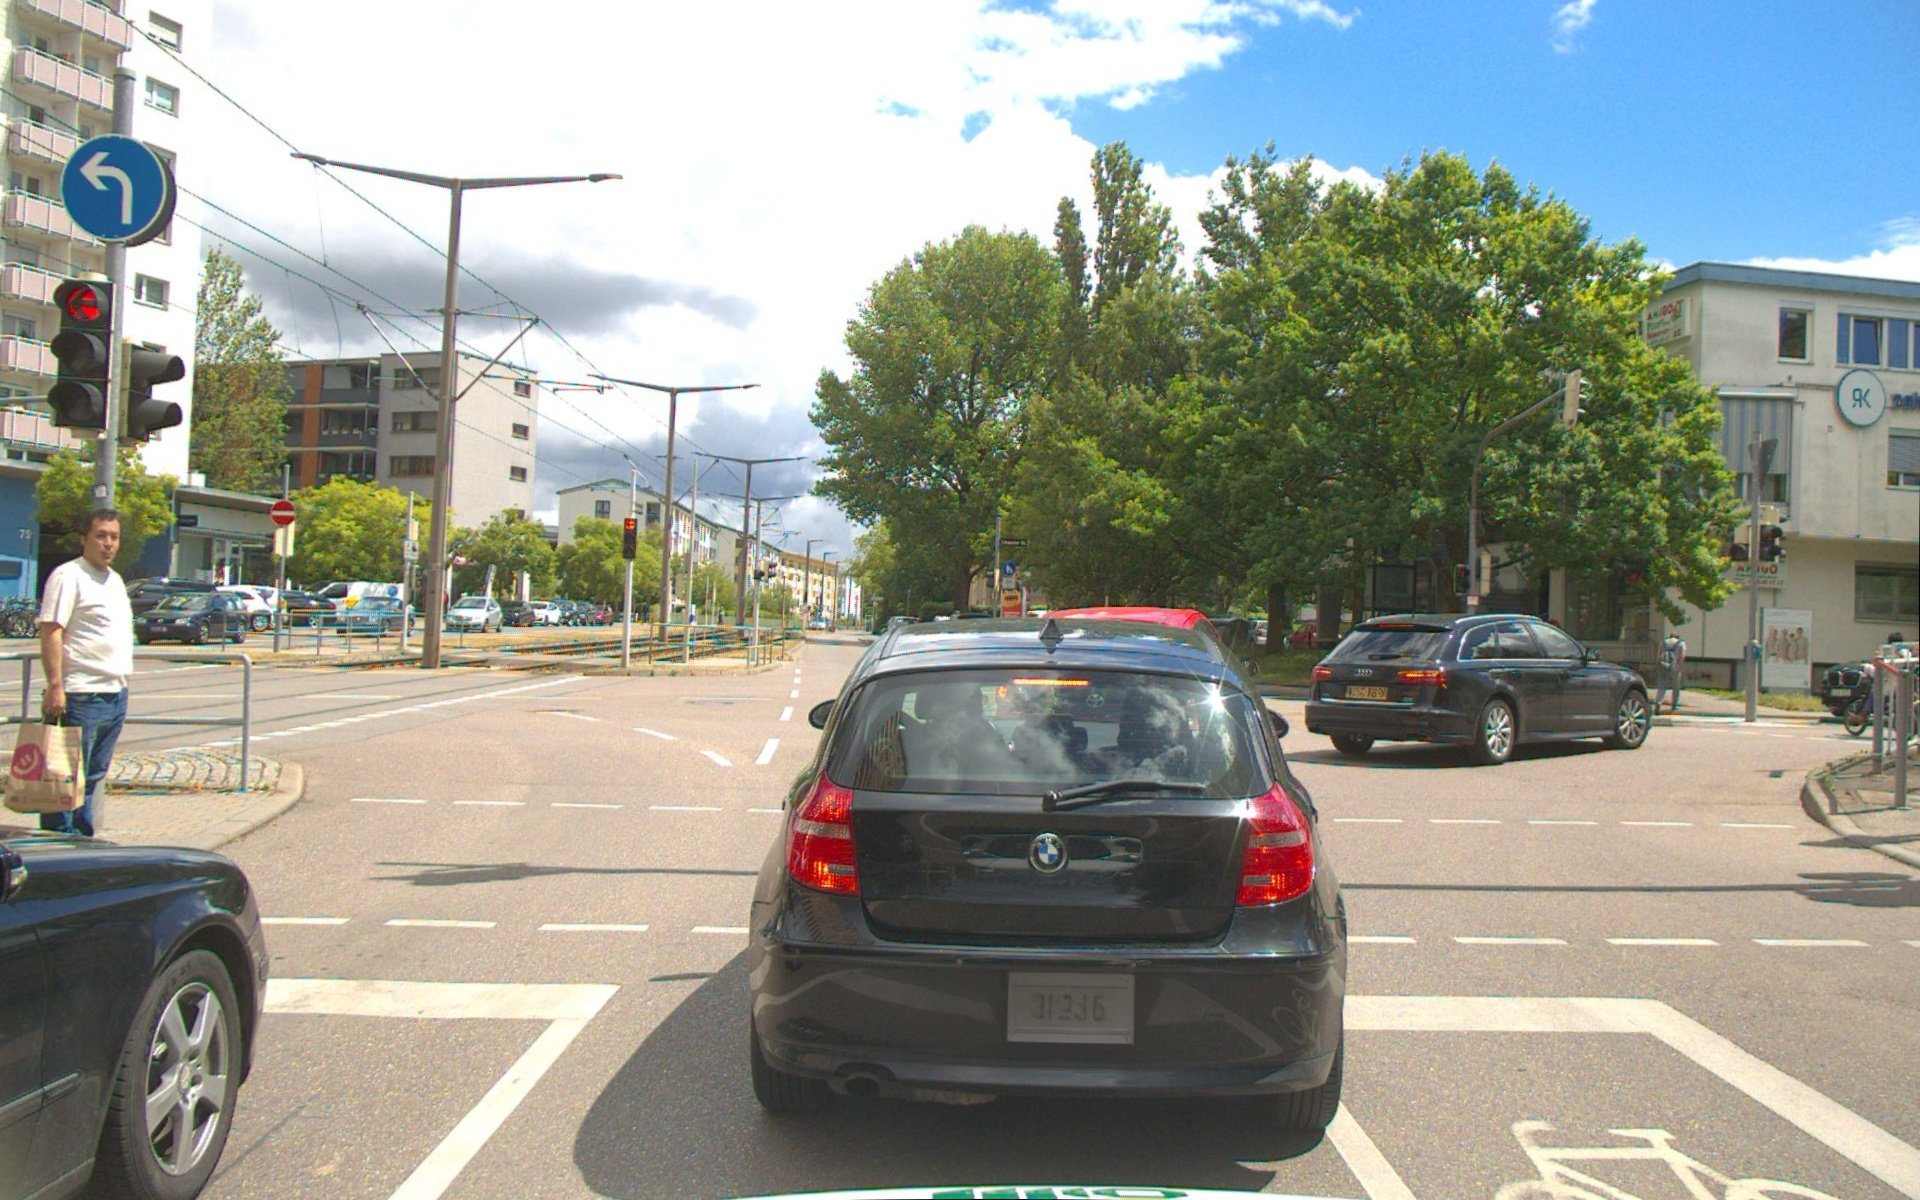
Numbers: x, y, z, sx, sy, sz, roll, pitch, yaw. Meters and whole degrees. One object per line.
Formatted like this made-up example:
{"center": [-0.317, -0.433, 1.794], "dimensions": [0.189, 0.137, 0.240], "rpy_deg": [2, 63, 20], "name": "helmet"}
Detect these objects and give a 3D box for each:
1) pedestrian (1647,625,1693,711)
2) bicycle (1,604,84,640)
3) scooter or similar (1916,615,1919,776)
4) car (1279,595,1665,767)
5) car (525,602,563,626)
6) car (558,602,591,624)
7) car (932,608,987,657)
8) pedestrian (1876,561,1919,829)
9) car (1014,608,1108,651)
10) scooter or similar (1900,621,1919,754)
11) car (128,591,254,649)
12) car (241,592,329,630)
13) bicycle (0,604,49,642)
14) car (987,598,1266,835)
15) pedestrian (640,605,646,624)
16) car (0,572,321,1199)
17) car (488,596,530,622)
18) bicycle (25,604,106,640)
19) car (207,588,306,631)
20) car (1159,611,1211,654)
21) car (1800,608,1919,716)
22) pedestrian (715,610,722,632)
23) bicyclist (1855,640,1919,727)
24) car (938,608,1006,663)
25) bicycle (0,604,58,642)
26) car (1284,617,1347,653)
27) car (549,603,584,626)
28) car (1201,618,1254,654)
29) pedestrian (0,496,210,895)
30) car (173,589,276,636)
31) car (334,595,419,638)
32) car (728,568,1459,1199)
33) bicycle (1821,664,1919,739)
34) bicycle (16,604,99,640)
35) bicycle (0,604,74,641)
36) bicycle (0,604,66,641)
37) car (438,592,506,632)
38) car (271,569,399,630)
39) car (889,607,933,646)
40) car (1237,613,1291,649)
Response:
{"center": [14.266, 1.357, 33.223], "dimensions": [0.753, 1.672, 0.906], "rpy_deg": [1, 0, 27], "name": "pedestrian"}
{"center": [-24.785, 0.596, 44.694], "dimensions": [1.909, 0.951, 0.494], "rpy_deg": [1, -1, -7], "name": "bicycle"}
{"center": [8.396, 0.791, 13.116], "dimensions": [1.315, 1.299, 0.462], "rpy_deg": [1, 1, 6], "name": "scooter or similar"}
{"center": [5.527, 0.786, 17.547], "dimensions": [4.484, 1.581, 1.969], "rpy_deg": [1, -1, -43], "name": "car"}
{"center": [-25.272, 0.843, 100.613], "dimensions": [1.728, 1.419, 3.994], "rpy_deg": [1, 0, -7], "name": "car"}
{"center": [-25.999, 0.894, 111.746], "dimensions": [1.728, 1.419, 3.994], "rpy_deg": [1, 0, -7], "name": "car"}
{"center": [-0.042, 1.211, 61.641], "dimensions": [1.953, 1.713, 3.999], "rpy_deg": [1, -1, -1], "name": "car"}
{"center": [6.648, 0.605, 10.838], "dimensions": [0.932, 1.703, 0.871], "rpy_deg": [0, 0, 14], "name": "pedestrian"}
{"center": [4.641, 1.338, 75.767], "dimensions": [3.933, 1.855, 1.766], "rpy_deg": [1, 0, -23], "name": "car"}
{"center": [9.205, 0.817, 14.934], "dimensions": [1.338, 1.176, 0.539], "rpy_deg": [3, 0, -26], "name": "scooter or similar"}
{"center": [-21.113, 0.516, 45.601], "dimensions": [1.596, 1.438, 4.252], "rpy_deg": [1, 1, -2], "name": "car"}
{"center": [-27.067, 0.426, 66.262], "dimensions": [1.777, 1.445, 4.148], "rpy_deg": [1, 0, -45], "name": "car"}
{"center": [-24.627, 0.589, 42.671], "dimensions": [1.909, 0.951, 0.494], "rpy_deg": [1, -1, -7], "name": "bicycle"}
{"center": [1.343, 0.742, 12.224], "dimensions": [1.509, 1.466, 3.198], "rpy_deg": [1, 0, 15], "name": "car"}
{"center": [-26.978, 1.233, 140.811], "dimensions": [0.444, 1.665, 0.480], "rpy_deg": [1, 0, -6], "name": "pedestrian"}
{"center": [-2.601, 0.674, 2.260], "dimensions": [1.693, 1.487, 4.543], "rpy_deg": [1, 0, -1], "name": "car"}
{"center": [-25.390, 0.502, 93.190], "dimensions": [1.728, 1.419, 3.994], "rpy_deg": [1, 0, -7], "name": "car"}
{"center": [-24.721, 0.603, 45.720], "dimensions": [1.909, 0.951, 0.494], "rpy_deg": [1, -1, -7], "name": "bicycle"}
{"center": [-26.972, 0.362, 63.342], "dimensions": [4.144, 1.564, 1.949], "rpy_deg": [1, 0, 43], "name": "car"}
{"center": [10.429, 1.488, 76.920], "dimensions": [1.598, 1.842, 4.029], "rpy_deg": [1, 0, -4], "name": "car"}
{"center": [17.175, 1.063, 28.486], "dimensions": [4.472, 1.747, 1.997], "rpy_deg": [1, 0, -8], "name": "car"}
{"center": [-18.810, 1.632, 128.903], "dimensions": [0.469, 1.665, 0.454], "rpy_deg": [1, 0, -2], "name": "pedestrian"}
{"center": [11.815, 1.044, 20.773], "dimensions": [0.776, 1.040, 0.635], "rpy_deg": [2, 0, -4], "name": "bicyclist"}
{"center": [0.371, 1.154, 54.199], "dimensions": [2.108, 1.713, 3.999], "rpy_deg": [1, -1, -1], "name": "car"}
{"center": [-24.674, 0.591, 43.160], "dimensions": [1.909, 0.951, 0.494], "rpy_deg": [1, -1, -7], "name": "bicycle"}
{"center": [17.071, 1.651, 79.598], "dimensions": [1.698, 1.623, 3.993], "rpy_deg": [1, 0, -8], "name": "car"}
{"center": [-25.456, 0.899, 107.189], "dimensions": [1.728, 1.419, 3.994], "rpy_deg": [1, 0, -7], "name": "car"}
{"center": [12.572, 1.664, 77.869], "dimensions": [1.598, 1.600, 4.029], "rpy_deg": [1, 0, -4], "name": "car"}
{"center": [-4.251, 0.444, 8.044], "dimensions": [0.851, 1.839, 0.741], "rpy_deg": [1, 0, -5], "name": "pedestrian"}
{"center": [-26.687, 0.455, 59.969], "dimensions": [4.144, 1.597, 1.949], "rpy_deg": [1, 0, 43], "name": "car"}
{"center": [-20.908, 0.601, 59.403], "dimensions": [1.602, 1.424, 4.491], "rpy_deg": [2, -1, -3], "name": "car"}
{"center": [0.300, 0.695, 5.950], "dimensions": [1.717, 1.513, 3.999], "rpy_deg": [1, 0, -1], "name": "car"}
{"center": [11.802, 1.268, 20.937], "dimensions": [0.776, 0.833, 1.806], "rpy_deg": [2, 0, -4], "name": "bicycle"}
{"center": [-24.676, 0.601, 45.242], "dimensions": [1.909, 0.951, 0.494], "rpy_deg": [1, -1, -7], "name": "bicycle"}
{"center": [-24.775, 0.594, 44.147], "dimensions": [1.909, 0.951, 0.494], "rpy_deg": [1, -1, -7], "name": "bicycle"}
{"center": [-24.720, 0.593, 43.665], "dimensions": [1.909, 0.951, 0.494], "rpy_deg": [1, -1, -7], "name": "bicycle"}
{"center": [-21.668, 0.515, 73.599], "dimensions": [1.897, 1.722, 3.872], "rpy_deg": [1, 0, -1], "name": "car"}
{"center": [-27.090, -0.044, 71.548], "dimensions": [2.810, 2.522, 6.614], "rpy_deg": [1, 0, -44], "name": "car"}
{"center": [-2.253, 1.218, 77.015], "dimensions": [1.953, 1.713, 3.999], "rpy_deg": [1, 0, -1], "name": "car"}
{"center": [14.525, 1.476, 79.178], "dimensions": [1.598, 1.623, 3.997], "rpy_deg": [1, 0, -4], "name": "car"}
